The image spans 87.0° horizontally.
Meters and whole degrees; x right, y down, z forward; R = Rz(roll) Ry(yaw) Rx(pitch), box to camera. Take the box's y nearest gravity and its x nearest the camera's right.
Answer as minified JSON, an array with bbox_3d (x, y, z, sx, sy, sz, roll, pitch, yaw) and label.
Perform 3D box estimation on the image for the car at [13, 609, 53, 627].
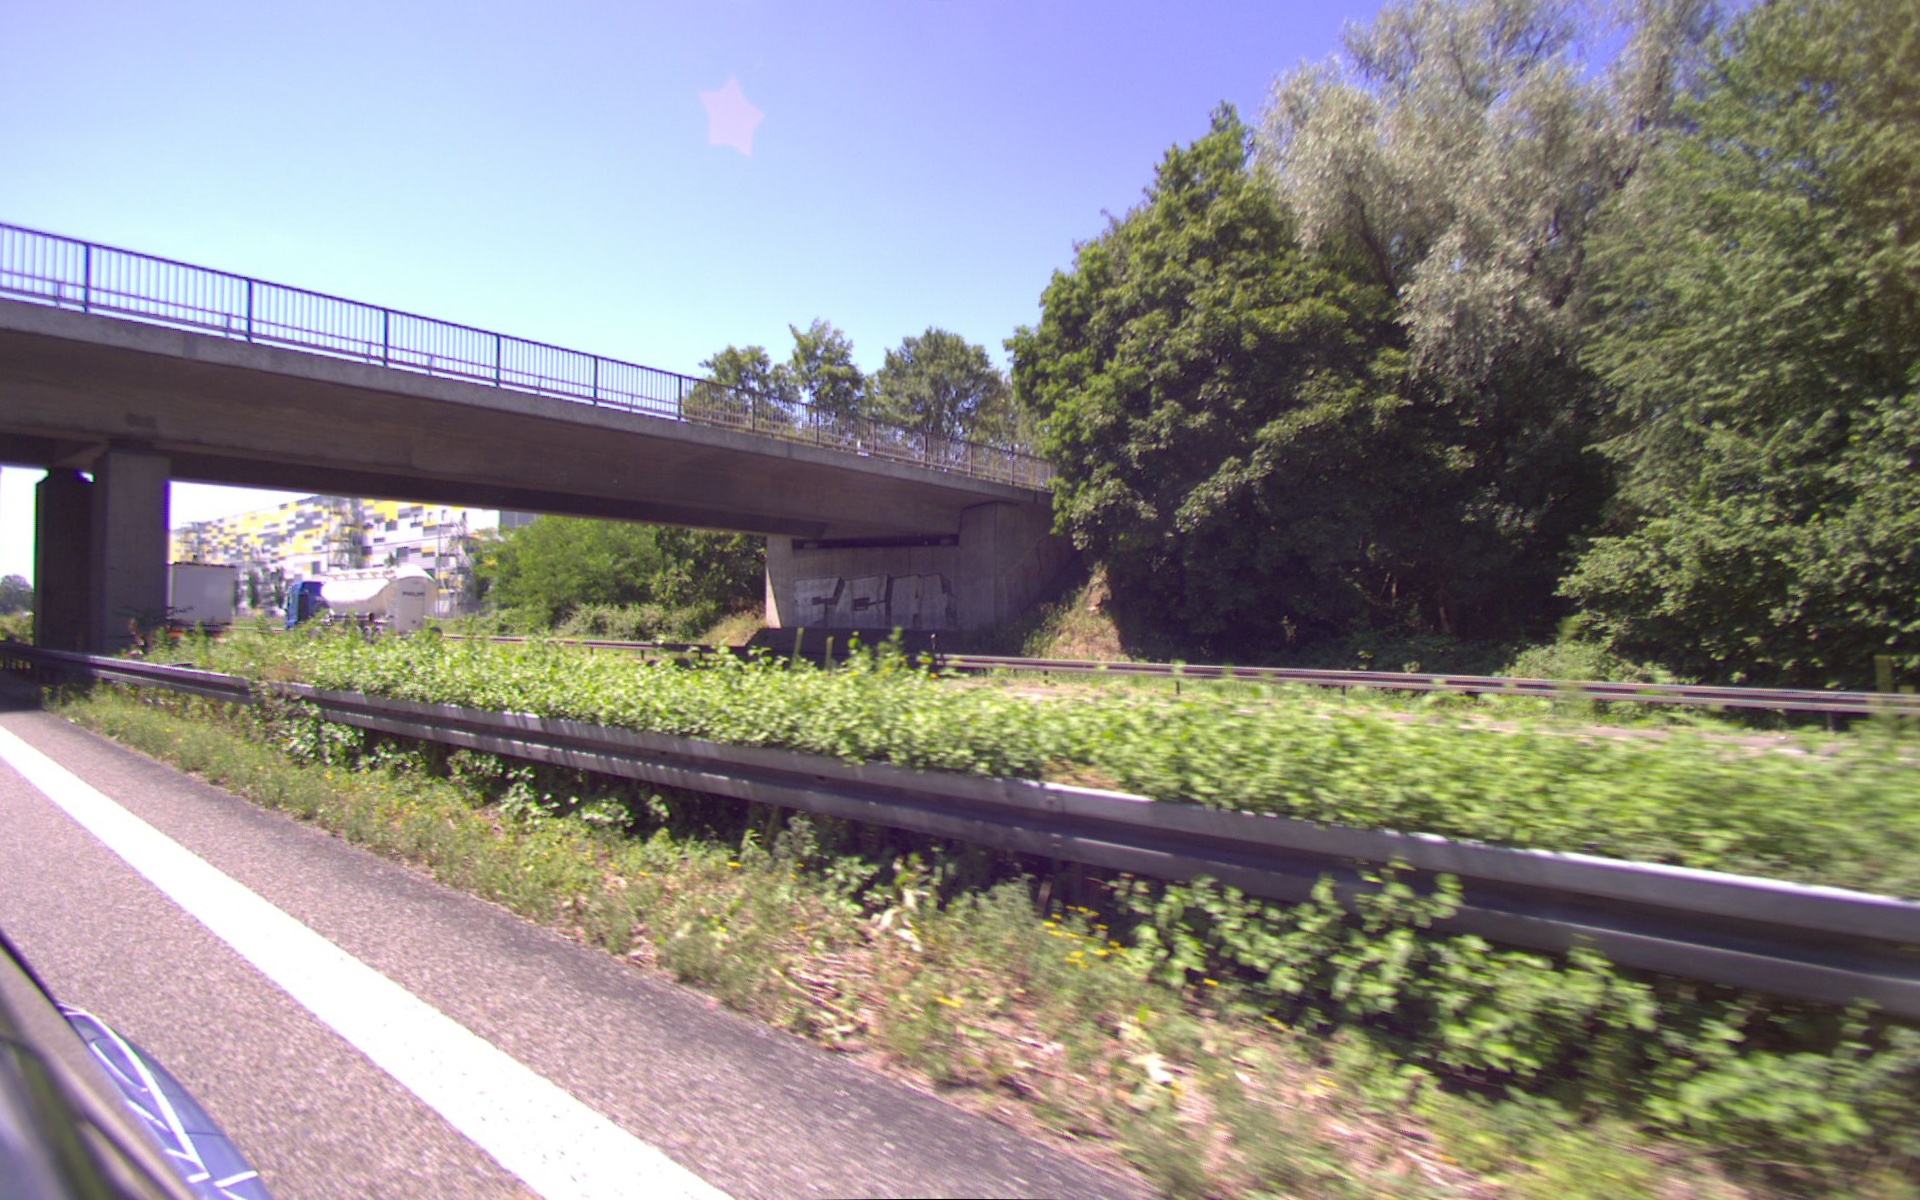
[{"bbox_3d":[-79.161,1.548,86.396,4.237,1.565,1.880,-1,-2,39],"label":"car"}]

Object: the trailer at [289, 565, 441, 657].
[{"bbox_3d":[-27.823,0.588,46.952,12.069,3.823,2.334,-1,-3,41],"label":"trailer"}]

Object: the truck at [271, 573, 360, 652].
[{"bbox_3d":[-32.657,0.679,51.229,5.249,3.804,2.335,-1,-3,41],"label":"truck"}]

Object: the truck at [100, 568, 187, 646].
[{"bbox_3d":[-47.385,0.471,58.688,5.886,4.244,2.799,-1,-3,41],"label":"truck"}]

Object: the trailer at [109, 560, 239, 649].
[{"bbox_3d":[-42.281,0.377,54.175,13.829,4.257,2.799,-1,-3,41],"label":"trailer"}]
